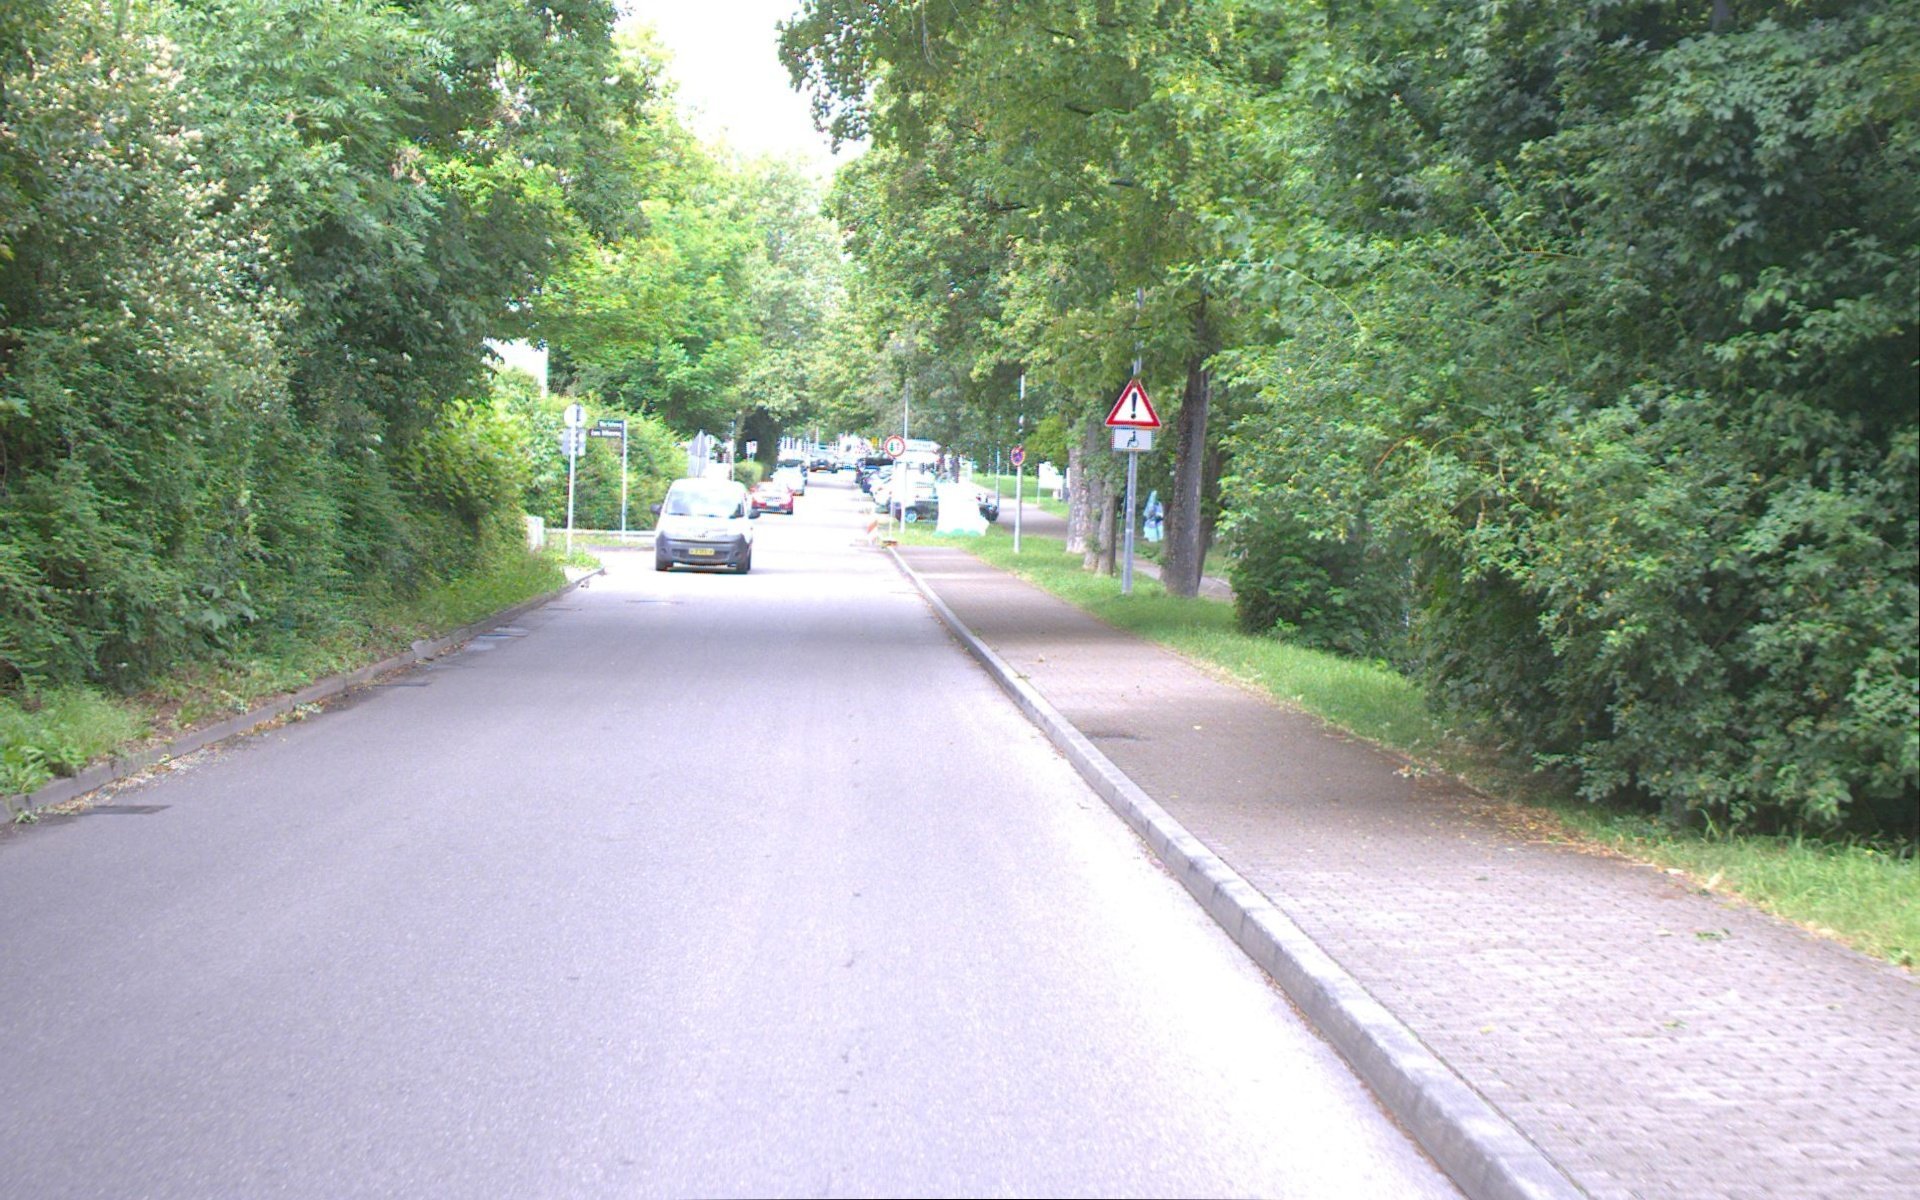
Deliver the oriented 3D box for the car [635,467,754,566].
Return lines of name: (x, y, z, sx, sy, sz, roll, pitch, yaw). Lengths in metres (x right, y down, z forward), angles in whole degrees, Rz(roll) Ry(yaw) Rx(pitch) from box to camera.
car: (-5.119, -1.594, 66.799, 1.993, 1.766, 4.000, 2, 0, -1)

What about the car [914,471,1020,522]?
car: (0.258, -3.942, 131.429, 3.987, 1.766, 2.000, 2, 0, -1)

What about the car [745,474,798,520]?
car: (-7.792, -4.255, 142.475, 1.993, 1.766, 4.000, 2, 0, -1)

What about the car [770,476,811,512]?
car: (-8.987, -5.633, 182.591, 1.993, 1.766, 4.000, 2, 0, -1)
